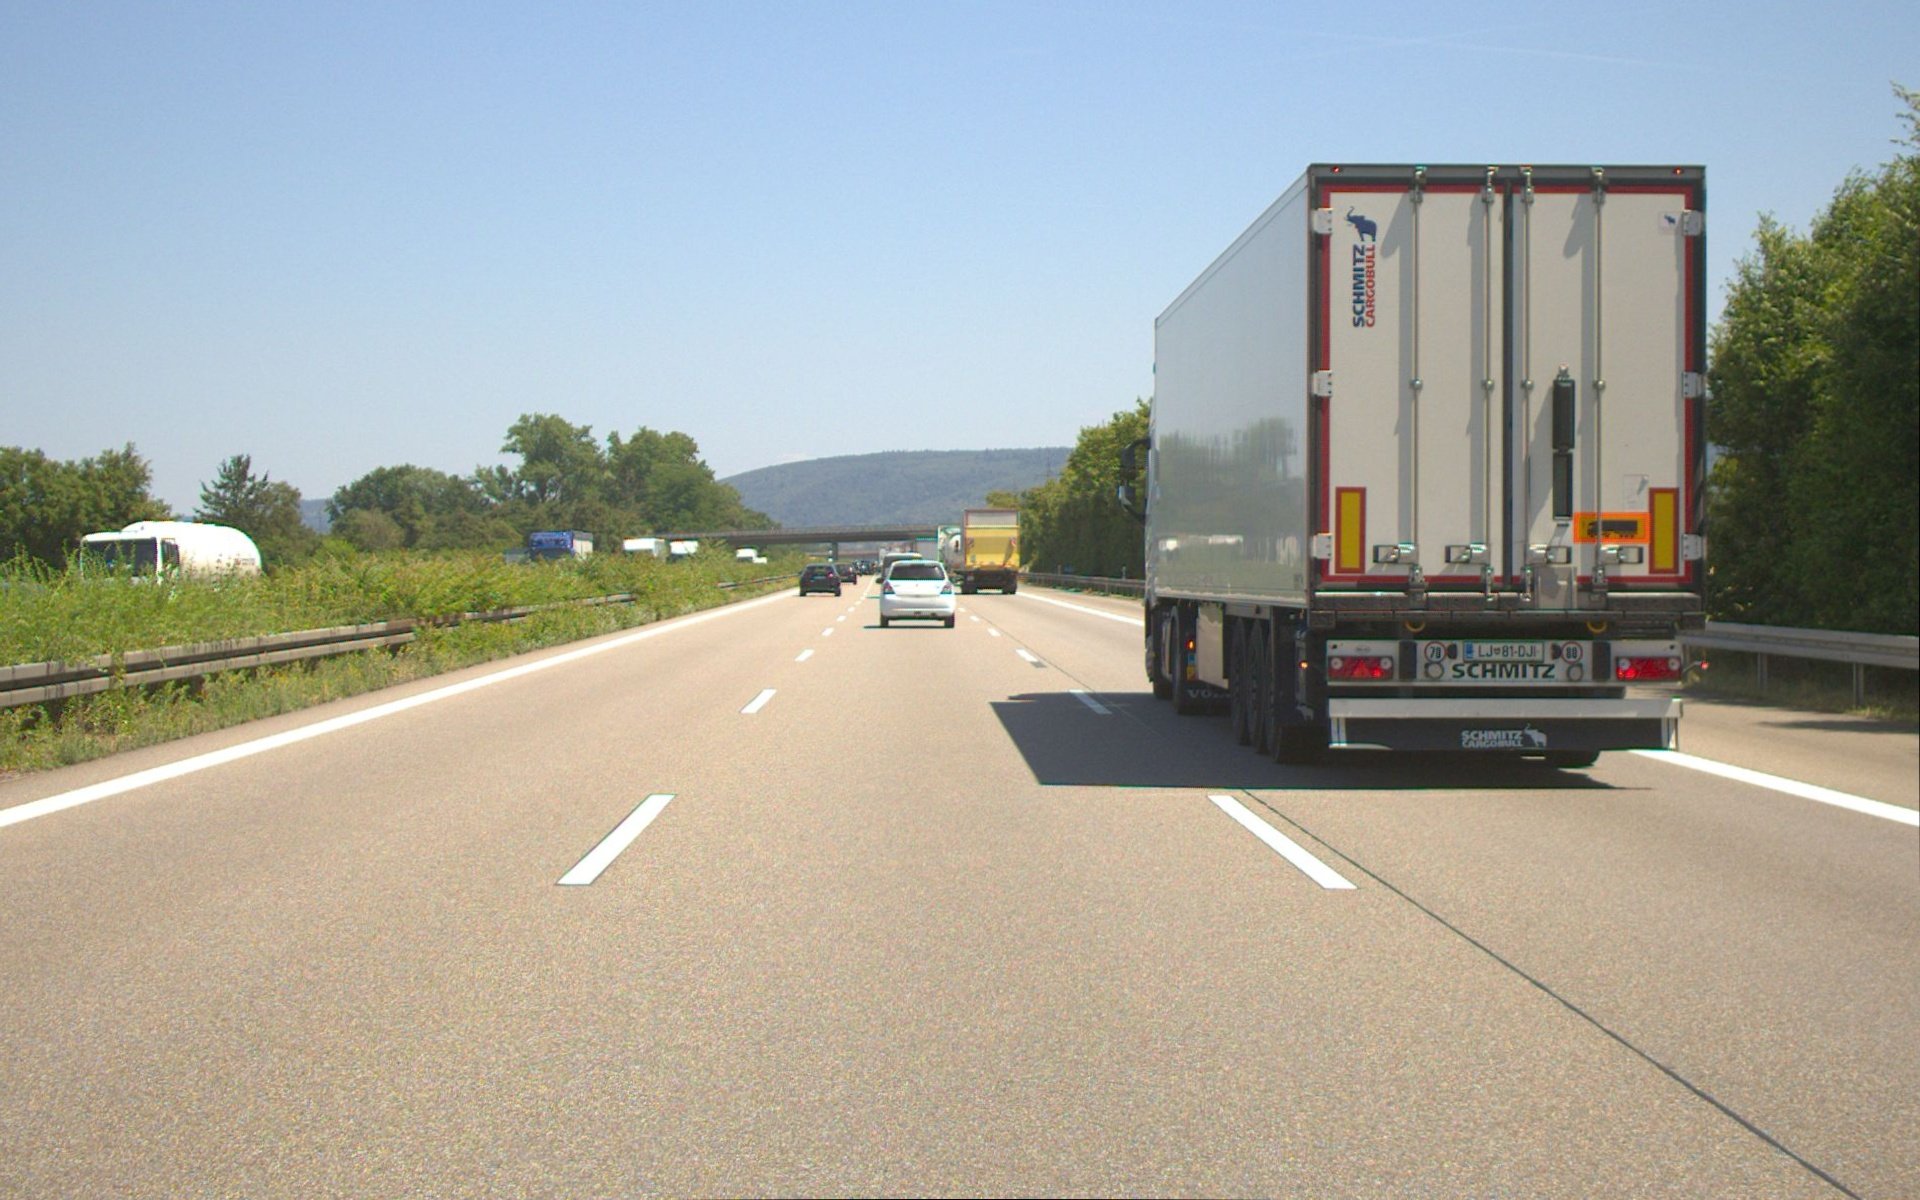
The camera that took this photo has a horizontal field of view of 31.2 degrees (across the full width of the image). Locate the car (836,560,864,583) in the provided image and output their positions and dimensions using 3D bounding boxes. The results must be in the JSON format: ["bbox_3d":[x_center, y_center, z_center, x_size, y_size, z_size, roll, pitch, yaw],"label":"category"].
[{"bbox_3d":[-7.451,-1.954,233.075,1.795,1.545,4.000,0,1,-1],"label":"car"}]

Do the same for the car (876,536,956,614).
[{"bbox_3d":[-1.023,-0.598,78.065,1.732,1.678,4.000,-1,1,-1],"label":"car"}]

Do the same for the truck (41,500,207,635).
[{"bbox_3d":[-22.458,-0.882,92.622,3.227,3.504,5.435,-1,1,-1],"label":"truck"}]

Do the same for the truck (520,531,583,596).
[{"bbox_3d":[-24.380,-2.203,205.485,3.133,3.819,5.834,-1,1,-1],"label":"truck"}]

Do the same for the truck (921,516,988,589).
[{"bbox_3d":[-0.413,-3.093,225.392,4.271,4.636,13.861,0,1,0],"label":"truck"}]

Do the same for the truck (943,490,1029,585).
[{"bbox_3d":[1.158,-3.022,165.741,3.871,4.330,13.861,1,1,-1],"label":"truck"}]

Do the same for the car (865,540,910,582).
[{"bbox_3d":[-3.009,-1.629,142.780,1.786,1.706,4.000,1,1,-1],"label":"car"}]

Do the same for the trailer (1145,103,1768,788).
[{"bbox_3d":[3.533,-1.108,28.781,3.218,4.330,13.629,1,1,0],"label":"trailer"}]

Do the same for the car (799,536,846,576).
[{"bbox_3d":[-6.036,-1.948,151.379,1.993,1.706,4.000,1,1,-1],"label":"car"}]

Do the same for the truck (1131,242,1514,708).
[{"bbox_3d":[3.560,-1.229,35.544,3.218,4.330,6.591,1,1,0],"label":"truck"}]

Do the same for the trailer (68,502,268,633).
[{"bbox_3d":[-22.593,-0.963,98.772,3.227,3.504,11.771,-1,1,-1],"label":"trailer"}]
